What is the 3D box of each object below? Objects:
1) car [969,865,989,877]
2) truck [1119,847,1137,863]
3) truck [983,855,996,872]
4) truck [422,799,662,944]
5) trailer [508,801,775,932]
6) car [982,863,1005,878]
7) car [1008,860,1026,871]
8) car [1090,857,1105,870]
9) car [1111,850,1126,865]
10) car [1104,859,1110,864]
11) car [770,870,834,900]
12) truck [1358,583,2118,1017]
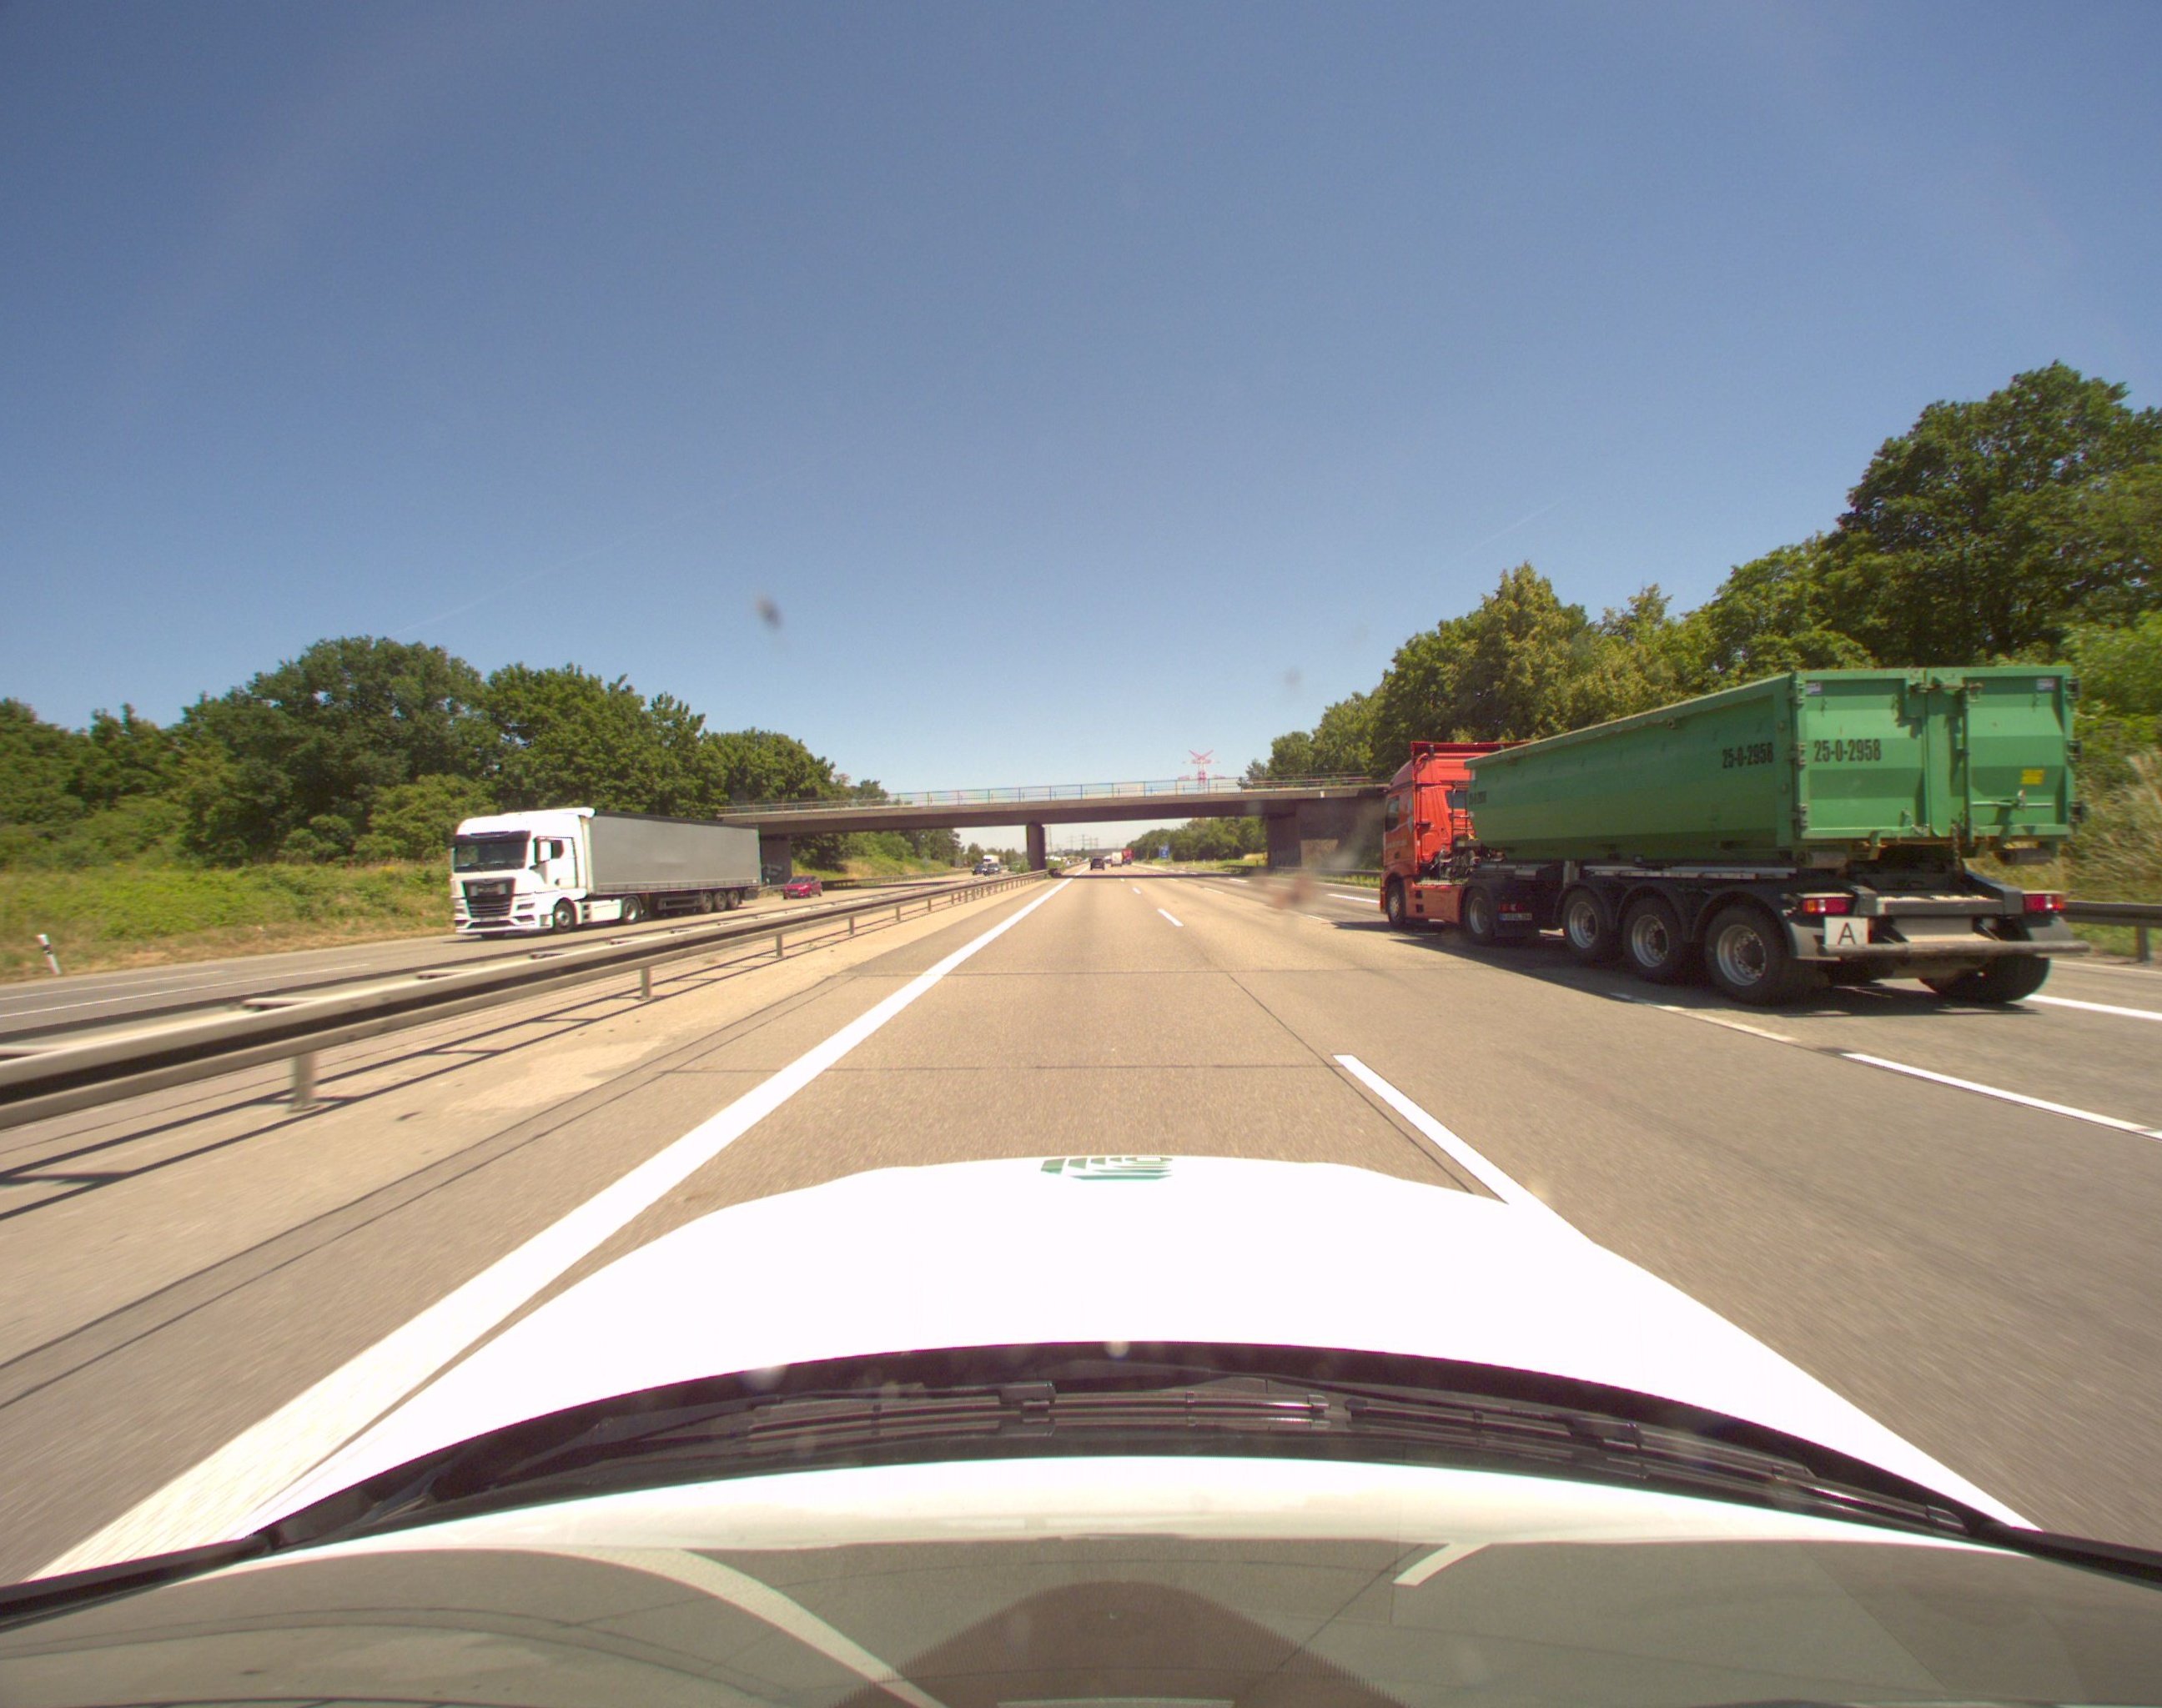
[{"bbox_3d":[-15.217,2.546,122.068,2.220,1.610,5.060,-4,0,1],"label":"car"},{"bbox_3d":[12.312,0.265,216.415,4.315,3.941,16.083,0,0,2],"label":"truck"},{"bbox_3d":[-28.314,2.917,251.617,3.063,4.827,7.711,-4,0,-1],"label":"truck"},{"bbox_3d":[-17.279,0.506,26.879,2.939,3.960,6.954,-4,0,1],"label":"truck"},{"bbox_3d":[-17.159,0.431,33.925,2.939,4.108,14.105,-4,0,1],"label":"trailer"},{"bbox_3d":[-11.187,2.076,104.367,2.220,1.610,5.060,-4,0,1],"label":"car"},{"bbox_3d":[-10.407,1.814,132.714,2.220,1.610,5.060,-4,0,1],"label":"car"},{"bbox_3d":[2.286,1.262,113.053,1.986,1.750,4.001,0,0,1],"label":"car"},{"bbox_3d":[7.164,0.713,156.038,2.611,2.759,6.097,0,0,1],"label":"car"},{"bbox_3d":[7.765,2.284,243.668,1.741,1.634,4.004,0,0,1],"label":"car"},{"bbox_3d":[-17.724,1.944,51.974,2.220,1.610,4.788,-4,0,1],"label":"car"},{"bbox_3d":[7.878,-0.466,13.388,2.671,3.798,12.481,0,0,1],"label":"truck"}]
